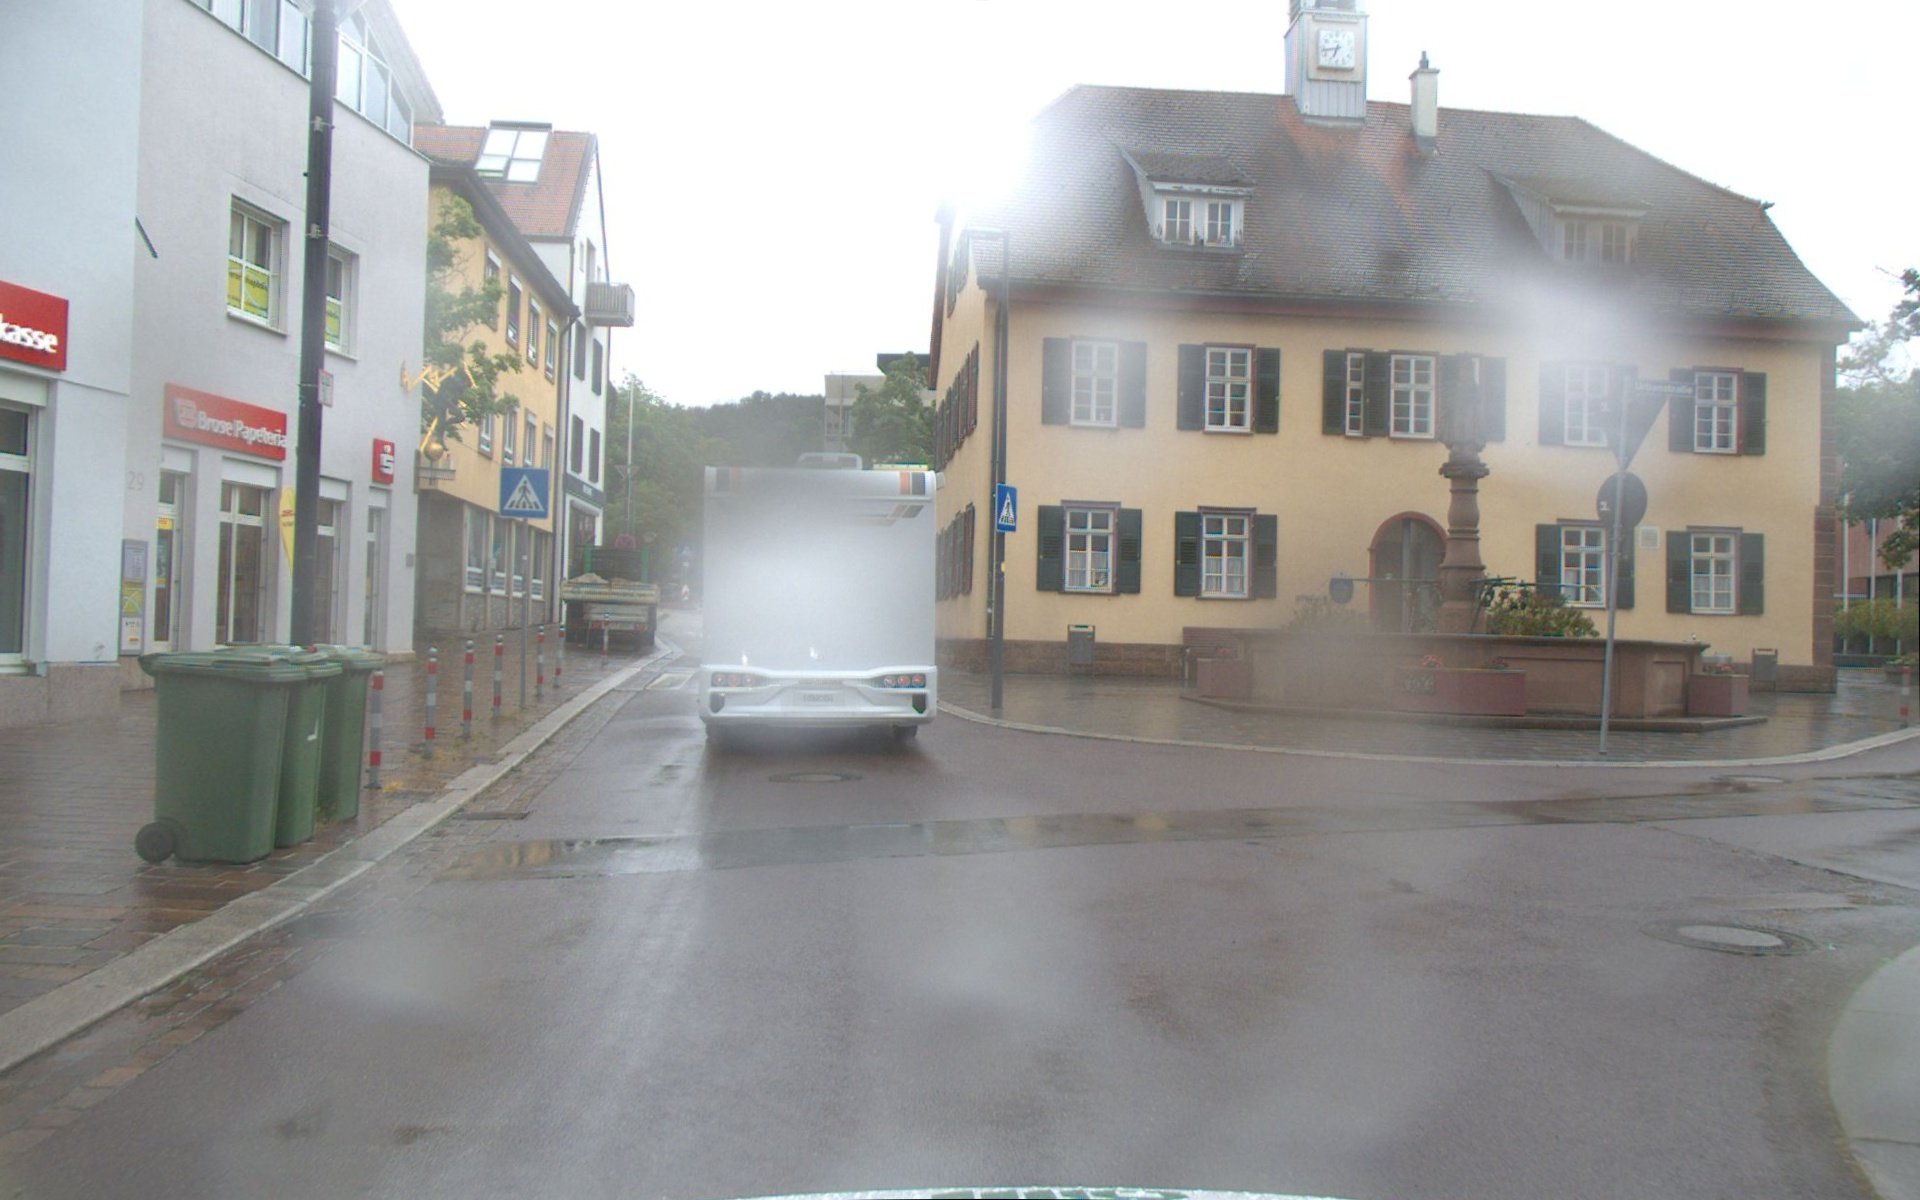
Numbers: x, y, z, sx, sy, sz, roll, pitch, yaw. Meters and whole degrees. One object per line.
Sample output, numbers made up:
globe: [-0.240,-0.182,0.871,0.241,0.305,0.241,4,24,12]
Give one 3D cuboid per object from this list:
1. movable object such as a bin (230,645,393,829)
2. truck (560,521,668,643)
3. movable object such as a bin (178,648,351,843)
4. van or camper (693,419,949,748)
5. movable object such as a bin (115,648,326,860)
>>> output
movable object such as a bin: [-4.013,0.837,10.270,0.750,1.069,0.523,4,-2,-5]
truck: [-8.546,-0.348,41.338,2.238,2.806,5.557,1,-2,-8]
movable object such as a bin: [-3.954,0.817,9.441,0.750,1.069,0.523,1,-2,-5]
van or camper: [-1.575,-0.069,18.325,2.281,2.970,6.384,1,-2,-6]
movable object such as a bin: [-3.912,0.801,8.806,0.802,1.069,0.699,1,-2,-5]
